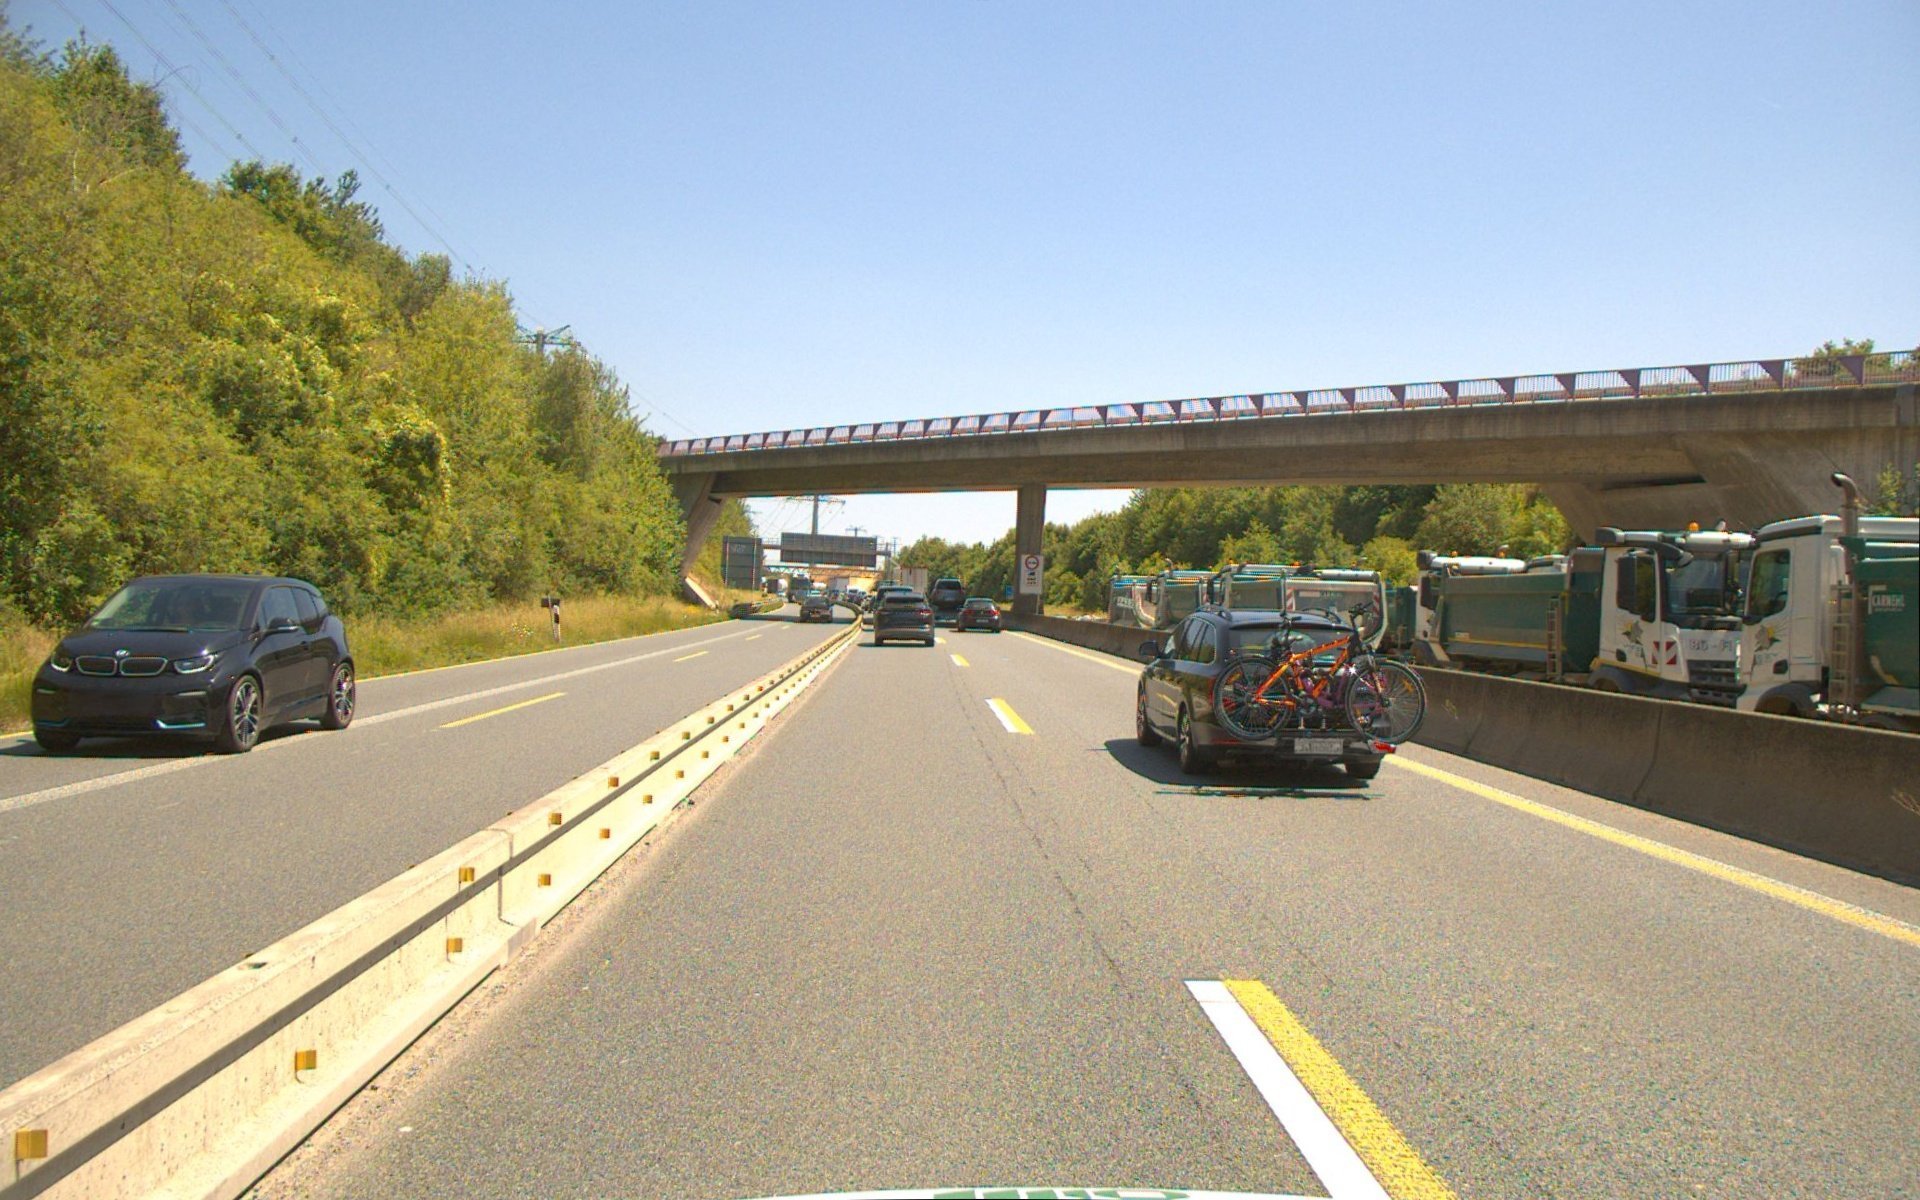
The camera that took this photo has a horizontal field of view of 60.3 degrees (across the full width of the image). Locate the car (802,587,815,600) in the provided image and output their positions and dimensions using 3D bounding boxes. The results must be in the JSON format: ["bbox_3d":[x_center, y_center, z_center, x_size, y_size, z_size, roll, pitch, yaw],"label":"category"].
[{"bbox_3d":[-22.170,-0.984,242.073,1.728,1.870,3.994,1,0,-6],"label":"car"}]

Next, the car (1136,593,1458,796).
[{"bbox_3d":[2.849,0.736,15.150,1.860,1.516,4.946,1,0,-1],"label":"car"}]

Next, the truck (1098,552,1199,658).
[{"bbox_3d":[7.451,0.170,66.715,2.633,3.910,9.321,1,0,-2],"label":"truck"}]

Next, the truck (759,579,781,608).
[{"bbox_3d":[-21.940,-0.762,191.277,2.460,3.242,10.095,1,0,-6],"label":"truck"}]

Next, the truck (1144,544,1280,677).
[{"bbox_3d":[8.079,0.295,54.284,2.633,3.923,9.321,1,0,-2],"label":"truck"}]

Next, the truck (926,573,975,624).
[{"bbox_3d":[-0.581,-0.119,91.267,2.357,2.603,7.496,1,0,-3],"label":"truck"}]

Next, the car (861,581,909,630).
[{"bbox_3d":[-3.208,0.248,71.311,1.860,2.003,4.275,1,0,-1],"label":"car"}]

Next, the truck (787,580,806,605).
[{"bbox_3d":[-22.432,-1.018,226.560,2.460,3.242,10.095,1,0,-6],"label":"truck"}]

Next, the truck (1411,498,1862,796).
[{"bbox_3d":[9.615,0.572,25.028,2.633,3.619,9.321,1,0,-2],"label":"truck"}]

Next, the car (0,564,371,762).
[{"bbox_3d":[-7.179,0.513,15.696,1.742,1.604,4.068,1,0,-1],"label":"car"}]

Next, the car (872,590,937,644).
[{"bbox_3d":[-1.661,0.509,50.388,1.860,1.531,4.275,1,0,-1],"label":"car"}]

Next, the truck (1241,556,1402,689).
[{"bbox_3d":[11.241,0.628,52.398,2.633,3.792,9.321,1,0,-2],"label":"truck"}]

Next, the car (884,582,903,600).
[{"bbox_3d":[-7.532,-0.976,187.284,1.863,2.003,4.270,1,0,-7],"label":"car"}]

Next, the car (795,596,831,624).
[{"bbox_3d":[-7.747,0.543,87.277,1.640,1.418,4.069,1,0,-2],"label":"car"}]

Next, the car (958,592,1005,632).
[{"bbox_3d":[0.907,0.505,71.514,1.860,1.613,4.275,1,0,-1],"label":"car"}]

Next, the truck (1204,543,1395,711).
[{"bbox_3d":[8.491,0.606,42.686,2.633,3.826,9.321,1,0,-2],"label":"truck"}]

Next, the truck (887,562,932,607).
[{"bbox_3d":[-4.685,-1.409,151.906,3.229,3.912,10.095,1,0,-6],"label":"truck"}]

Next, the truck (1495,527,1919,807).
[{"bbox_3d":[11.912,0.919,27.538,2.633,3.826,9.321,1,0,-2],"label":"truck"}]

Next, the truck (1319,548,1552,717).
[{"bbox_3d":[11.358,0.688,40.613,2.633,3.619,9.321,1,0,-2],"label":"truck"}]

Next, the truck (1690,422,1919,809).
[{"bbox_3d":[10.294,0.168,15.262,2.633,3.619,9.321,1,0,-2],"label":"truck"}]
